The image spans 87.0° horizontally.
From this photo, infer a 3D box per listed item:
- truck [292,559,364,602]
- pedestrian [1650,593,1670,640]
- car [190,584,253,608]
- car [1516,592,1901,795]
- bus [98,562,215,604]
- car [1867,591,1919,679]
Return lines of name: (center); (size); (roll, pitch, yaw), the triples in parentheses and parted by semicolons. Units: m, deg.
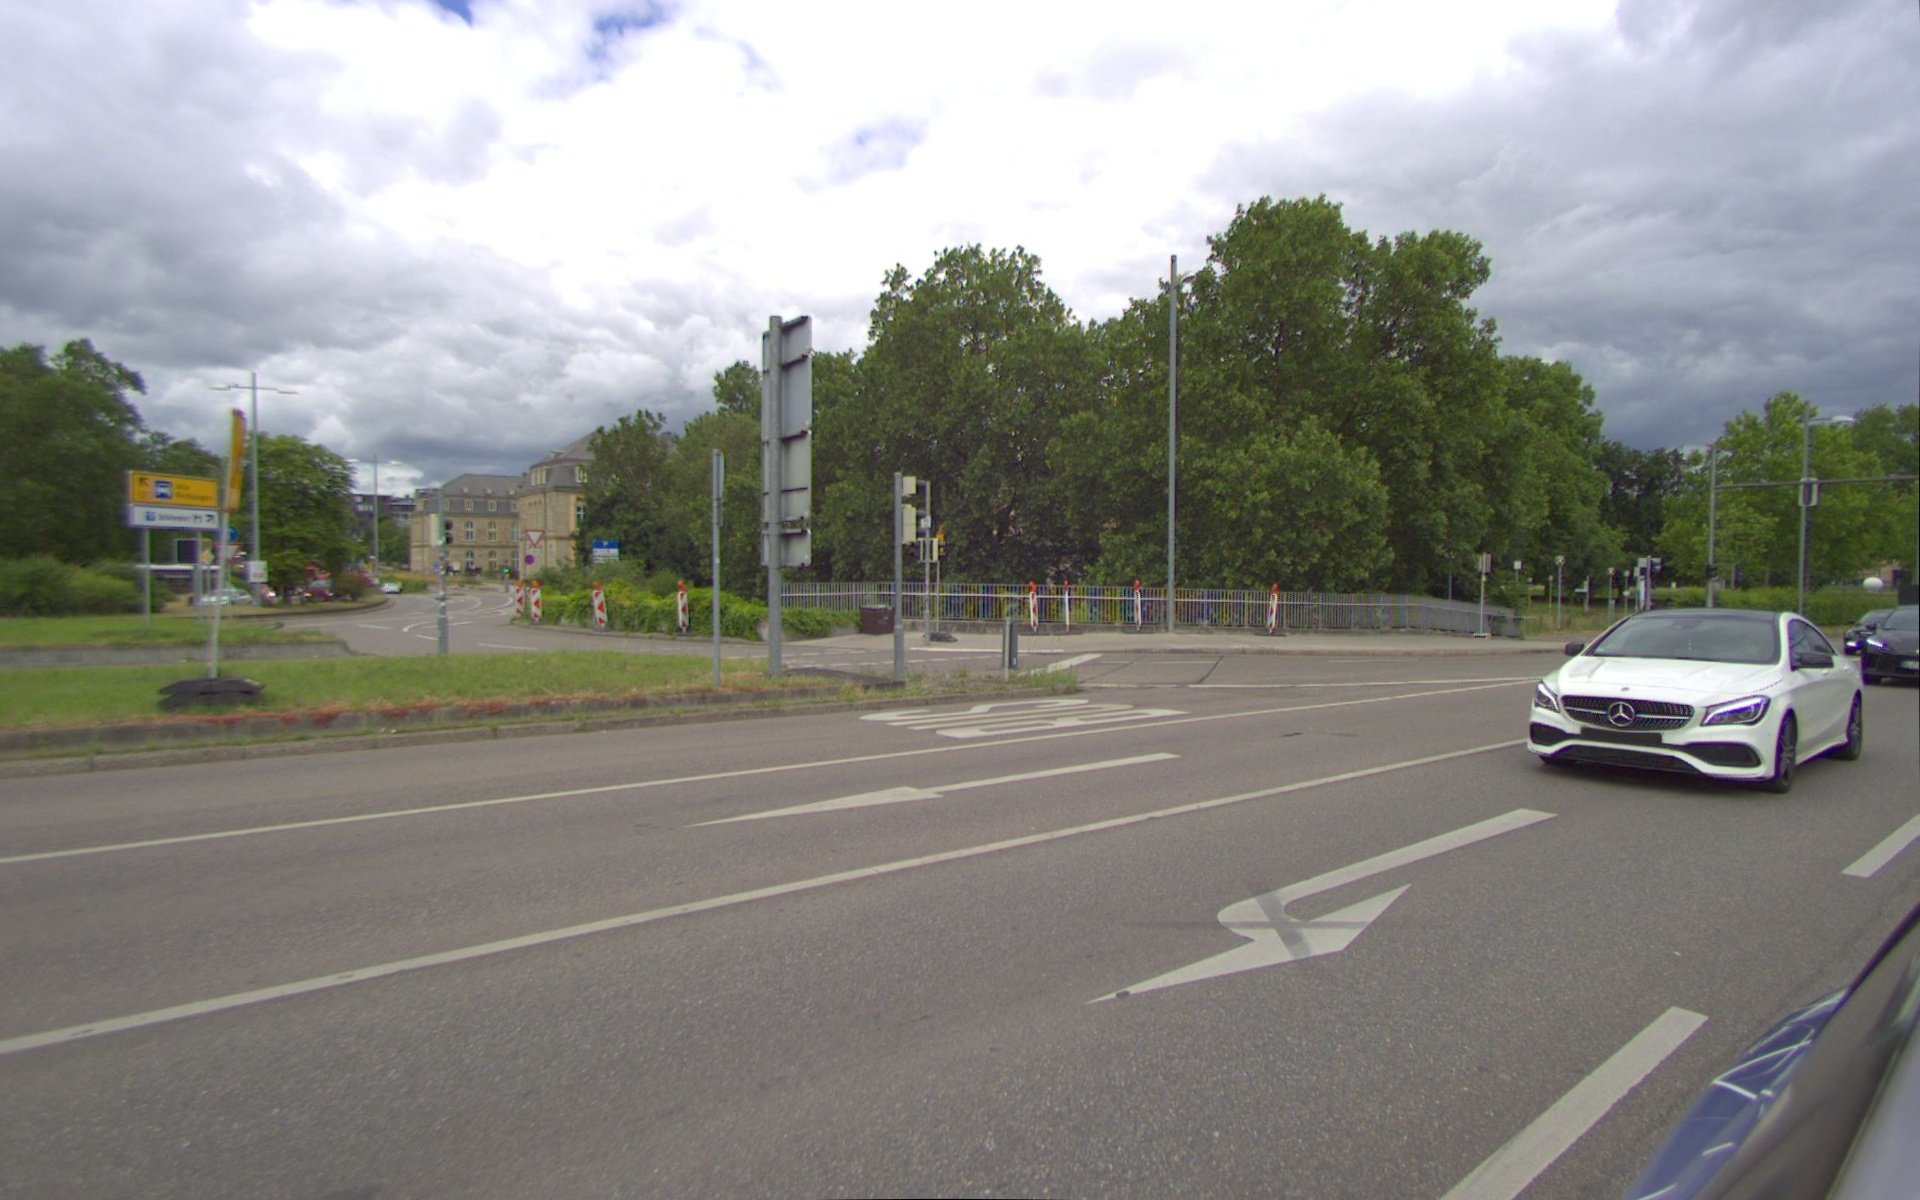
truck: (-52.683, -1.626, 84.566); (2.753, 3.412, 7.650); (0, 1, -13)
pedestrian: (27.231, 0.639, 39.362); (0.609, 1.786, 0.479); (0, 0, -41)
car: (-46.610, -0.258, 63.951); (1.778, 1.431, 4.098); (0, 1, -14)
car: (7.016, 0.657, 9.311); (4.423, 1.441, 1.723); (0, 1, -38)
bus: (-59.128, -1.222, 74.826); (2.517, 2.887, 9.687); (0, 1, -11)
car: (18.667, 0.638, 18.940); (4.044, 1.543, 1.830); (1, 0, -38)
